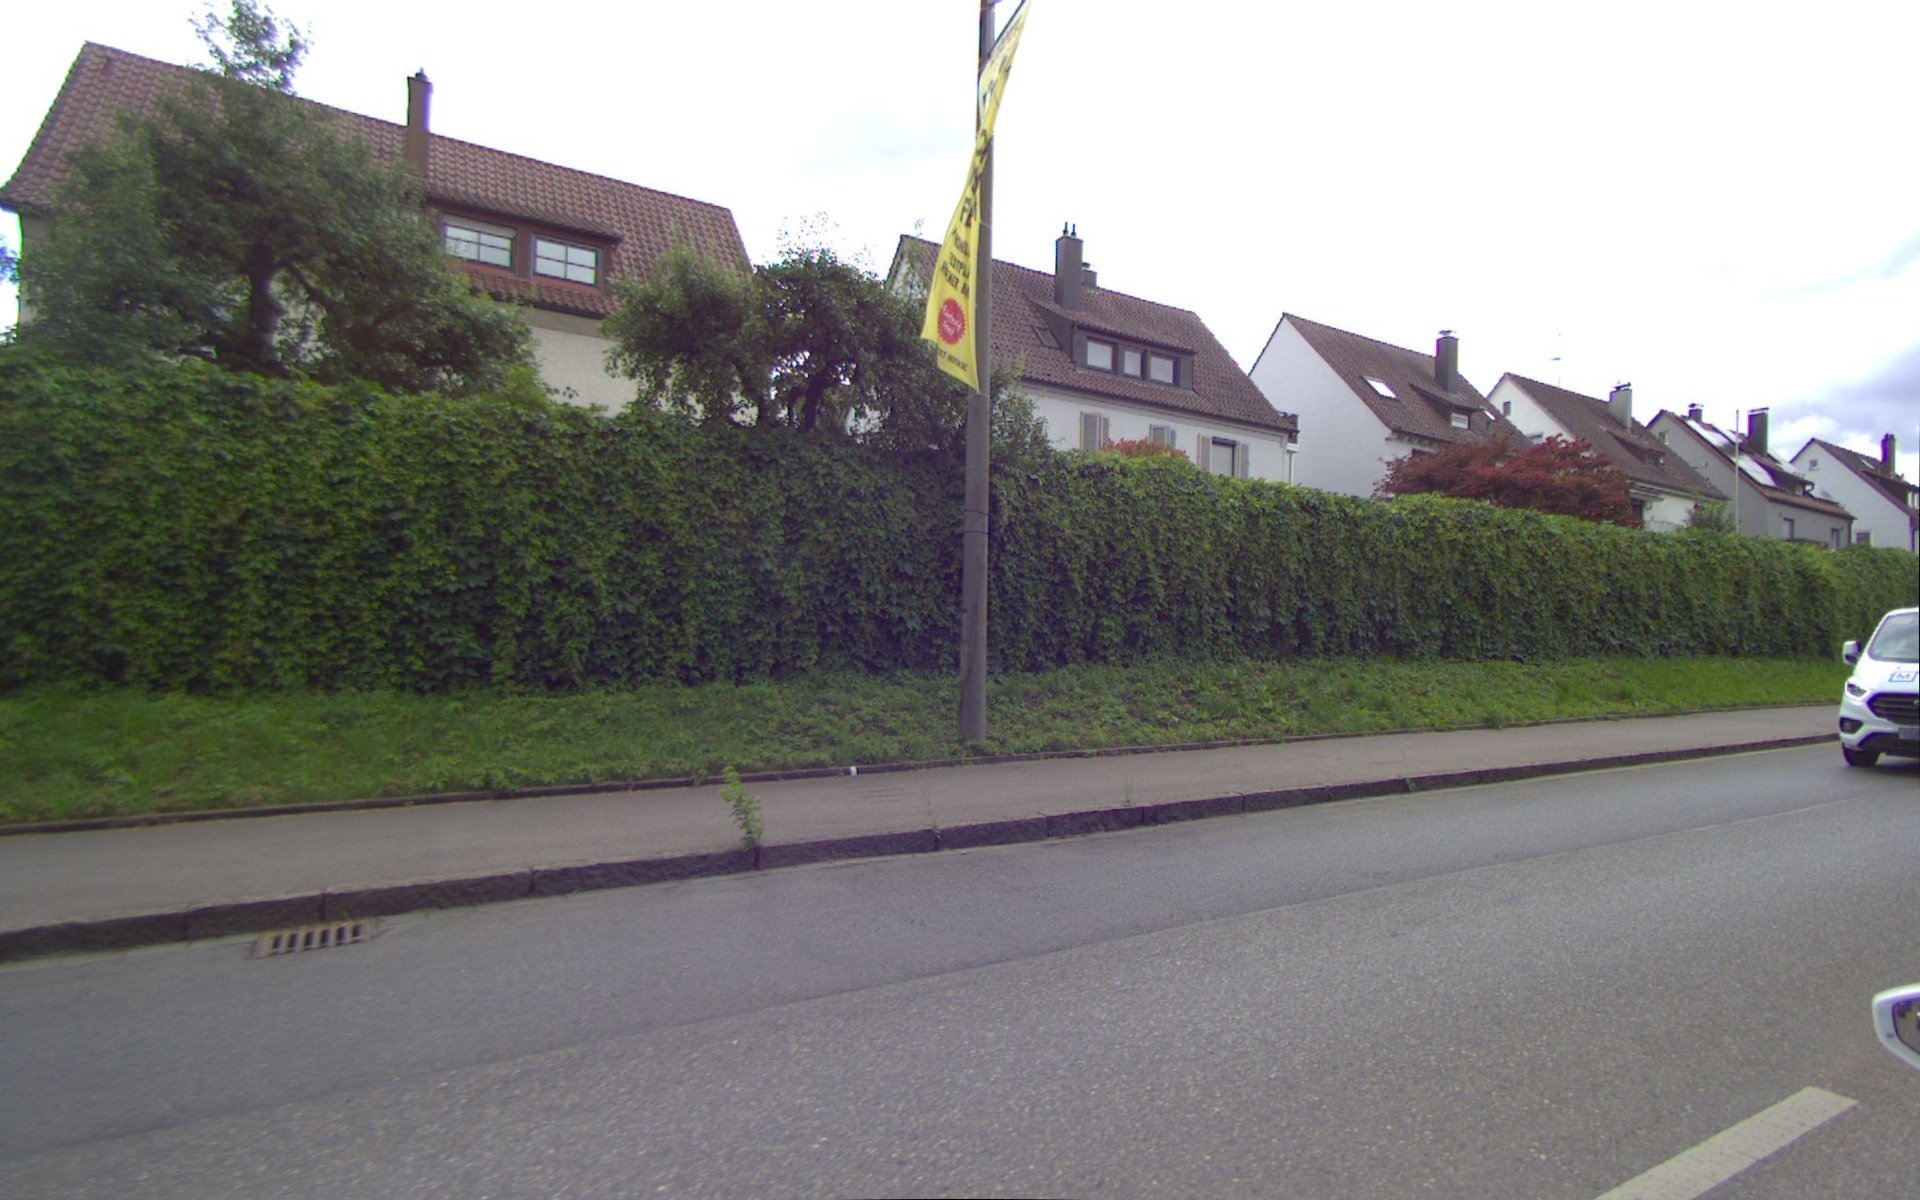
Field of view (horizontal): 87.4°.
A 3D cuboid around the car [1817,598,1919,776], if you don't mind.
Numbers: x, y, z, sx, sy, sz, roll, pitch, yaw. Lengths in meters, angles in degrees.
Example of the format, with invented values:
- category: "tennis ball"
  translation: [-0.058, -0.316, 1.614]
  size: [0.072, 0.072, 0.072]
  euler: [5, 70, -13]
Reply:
- category: "car"
  translation: [12.690, 1.008, 12.341]
  size: [4.856, 1.957, 1.897]
  euler: [1, -3, -32]
